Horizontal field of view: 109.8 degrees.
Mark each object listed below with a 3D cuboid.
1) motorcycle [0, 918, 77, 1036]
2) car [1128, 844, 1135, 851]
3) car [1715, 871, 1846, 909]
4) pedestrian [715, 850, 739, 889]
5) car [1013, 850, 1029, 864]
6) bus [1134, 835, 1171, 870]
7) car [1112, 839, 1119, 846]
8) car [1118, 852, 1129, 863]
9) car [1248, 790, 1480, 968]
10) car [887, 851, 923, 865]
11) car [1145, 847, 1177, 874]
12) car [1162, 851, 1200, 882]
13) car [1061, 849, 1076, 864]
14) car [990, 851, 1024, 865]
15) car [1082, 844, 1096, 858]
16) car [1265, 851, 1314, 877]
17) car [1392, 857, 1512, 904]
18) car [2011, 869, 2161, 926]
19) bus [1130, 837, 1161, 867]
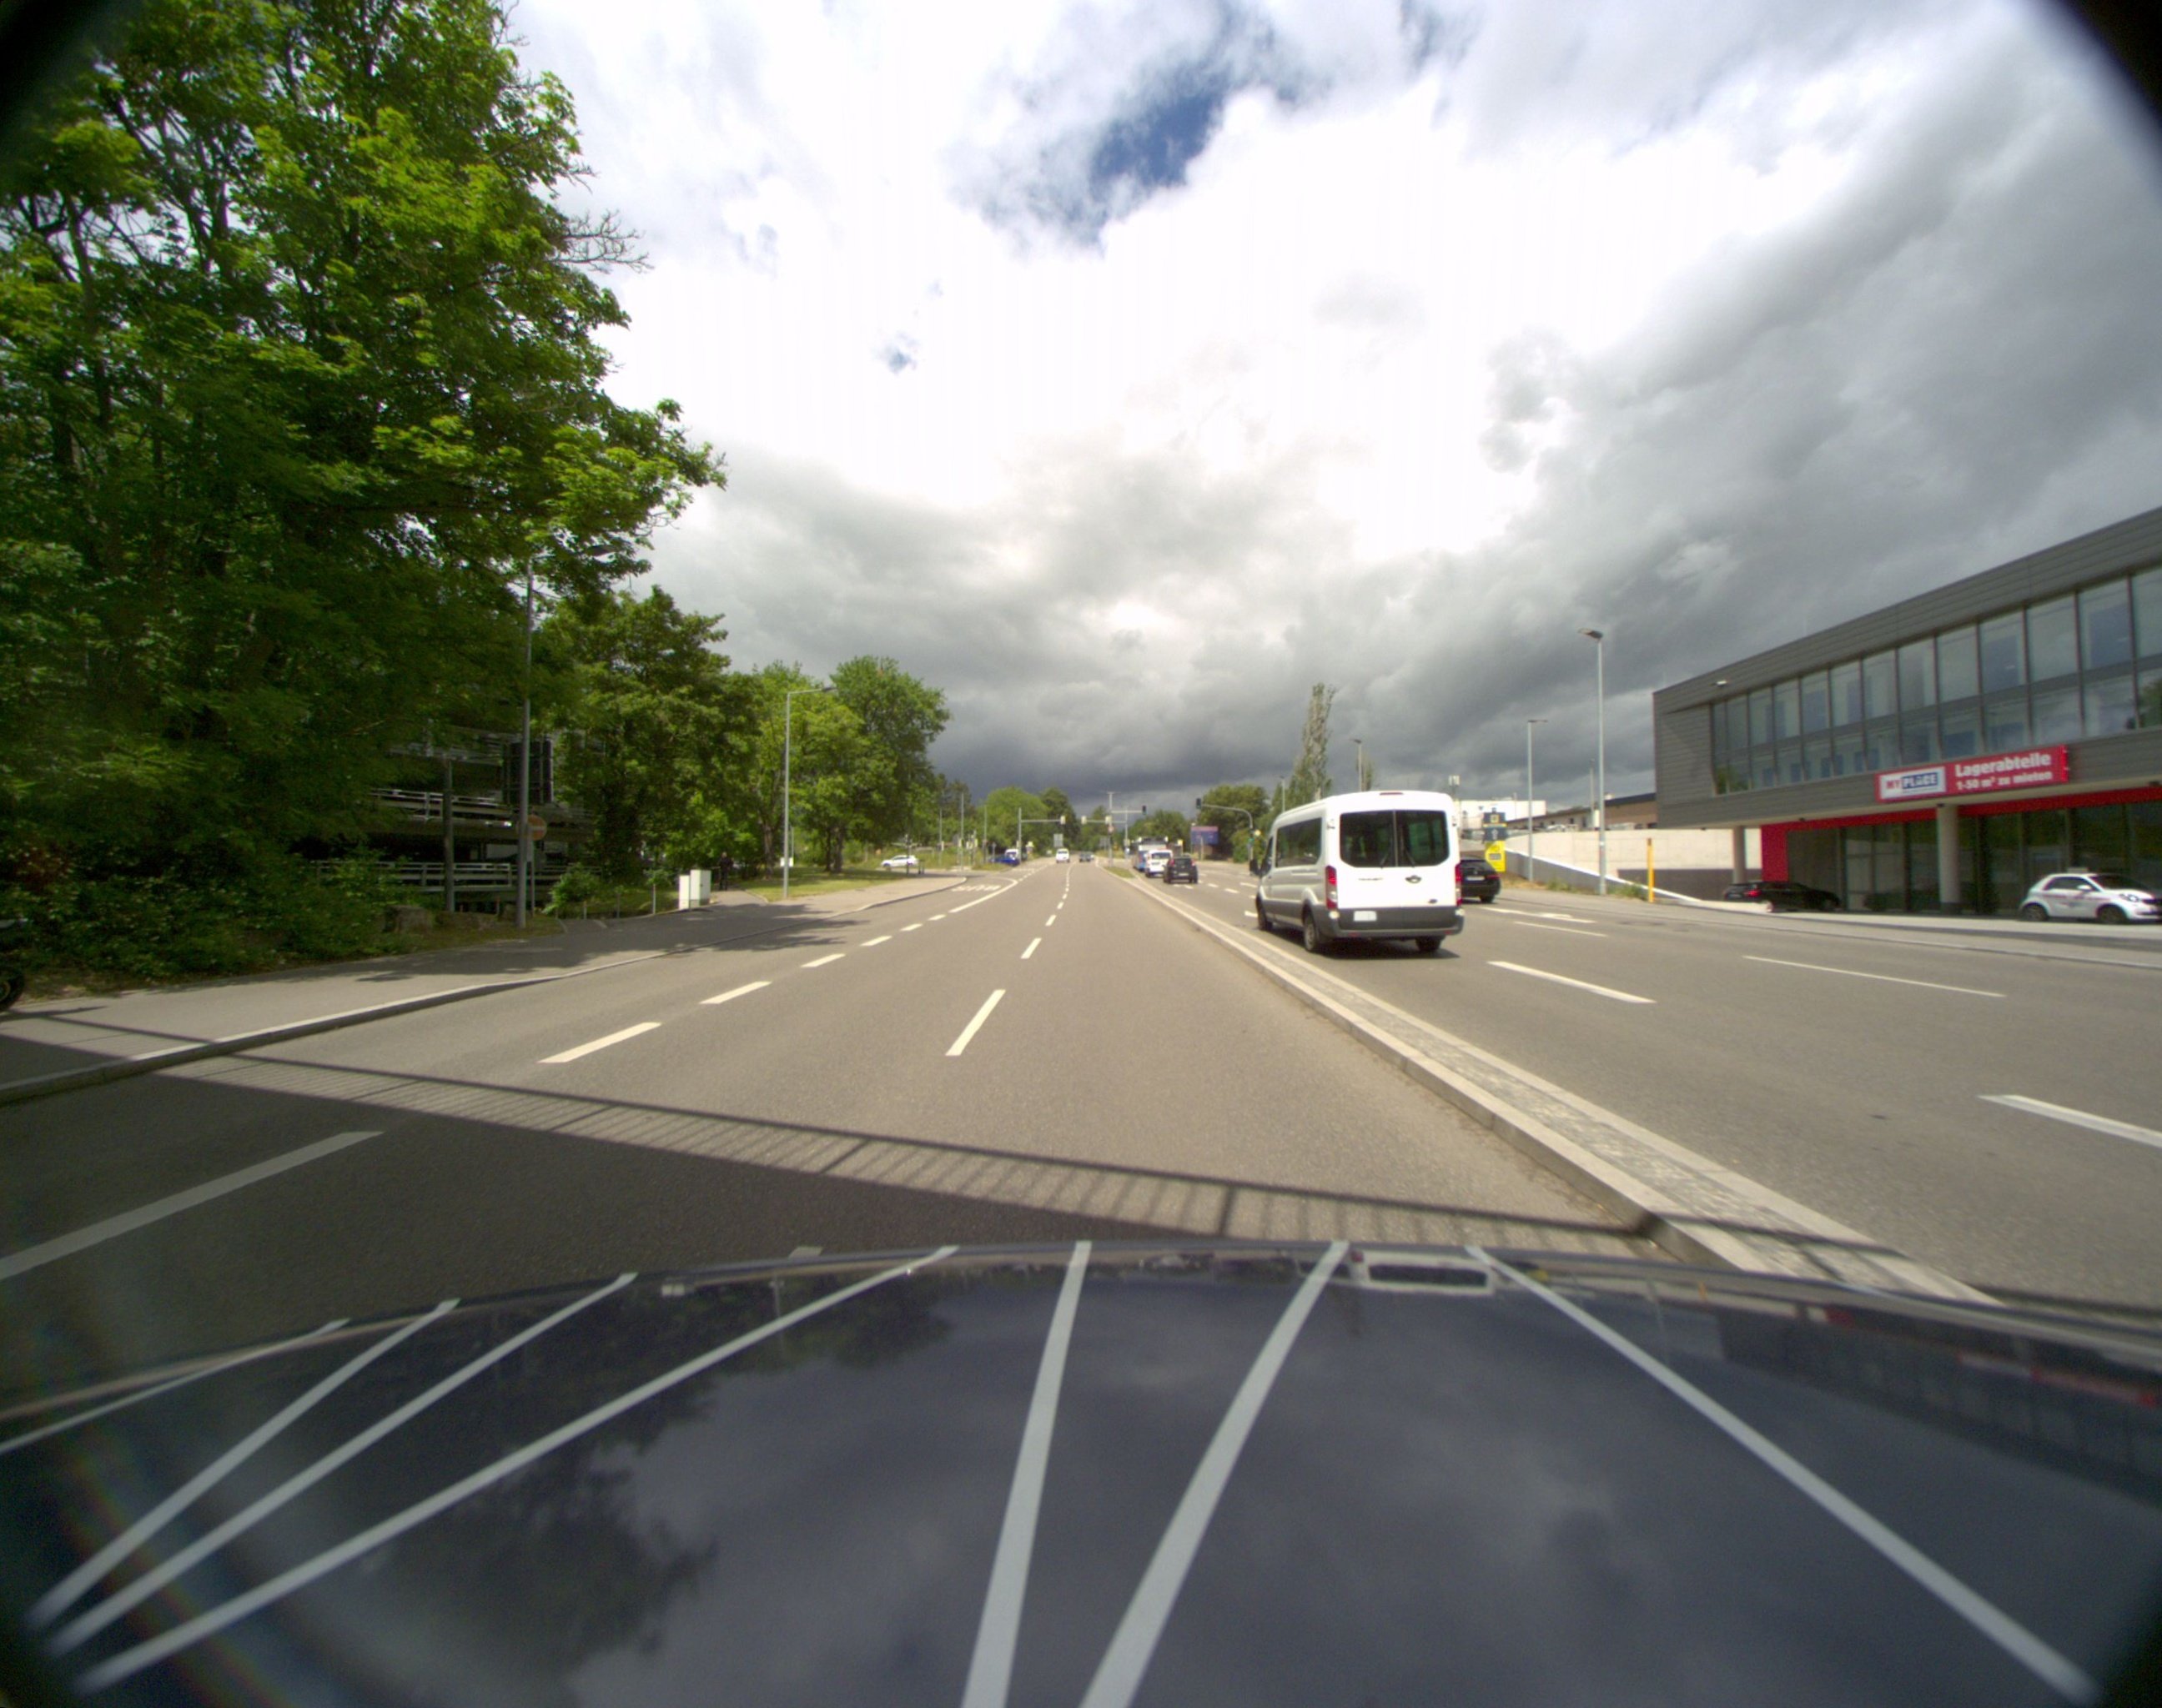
[{"bbox_3d":[-10.628,1.195,6.683,0.679,1.076,2.180,0,0,1],"label":"motorcycle"},{"bbox_3d":[14.926,-2.012,224.198,1.998,2.002,4.001,-1,0,2],"label":"car"},{"bbox_3d":[30.770,1.569,33.514,3.997,1.608,1.959,0,0,0],"label":"car"},{"bbox_3d":[-16.296,0.699,35.016,0.952,1.801,0.717,0,0,-22],"label":"pedestrian"},{"bbox_3d":[-8.123,0.347,103.751,1.999,1.888,4.081,0,1,-2],"label":"car"},{"bbox_3d":[6.501,-0.191,70.010,2.650,2.928,8.537,-2,1,1],"label":"bus"},{"bbox_3d":[9.755,-3.266,215.293,1.998,2.002,4.001,-1,0,2],"label":"car"},{"bbox_3d":[8.178,0.688,146.837,1.998,2.002,4.001,-1,0,2],"label":"car"},{"bbox_3d":[4.594,0.361,13.478,2.045,2.458,5.572,-2,0,1],"label":"car"},{"bbox_3d":[-21.845,0.522,94.441,4.081,1.735,1.999,0,0,-5],"label":"car"},{"bbox_3d":[5.575,0.454,53.603,1.827,1.796,4.255,-2,0,1],"label":"car"},{"bbox_3d":[5.591,0.679,42.876,1.640,1.582,4.255,-2,0,1],"label":"car"},{"bbox_3d":[-1.939,0.367,114.446,1.999,2.267,3.999,-1,0,-4],"label":"car"},{"bbox_3d":[-9.150,0.477,94.375,4.079,1.735,2.000,0,0,1],"label":"car"},{"bbox_3d":[1.266,-0.432,114.232,1.998,2.002,4.001,-1,0,2],"label":"car"},{"bbox_3d":[12.300,0.556,45.113,1.998,1.478,4.001,0,0,3],"label":"car"},{"bbox_3d":[11.451,0.772,23.796,1.998,1.346,4.001,0,0,3],"label":"car"},{"bbox_3d":[30.781,1.282,23.089,1.571,1.573,2.846,0,0,1],"label":"car"},{"bbox_3d":[6.630,-0.260,79.121,2.650,2.919,9.787,-2,1,2],"label":"bus"}]
